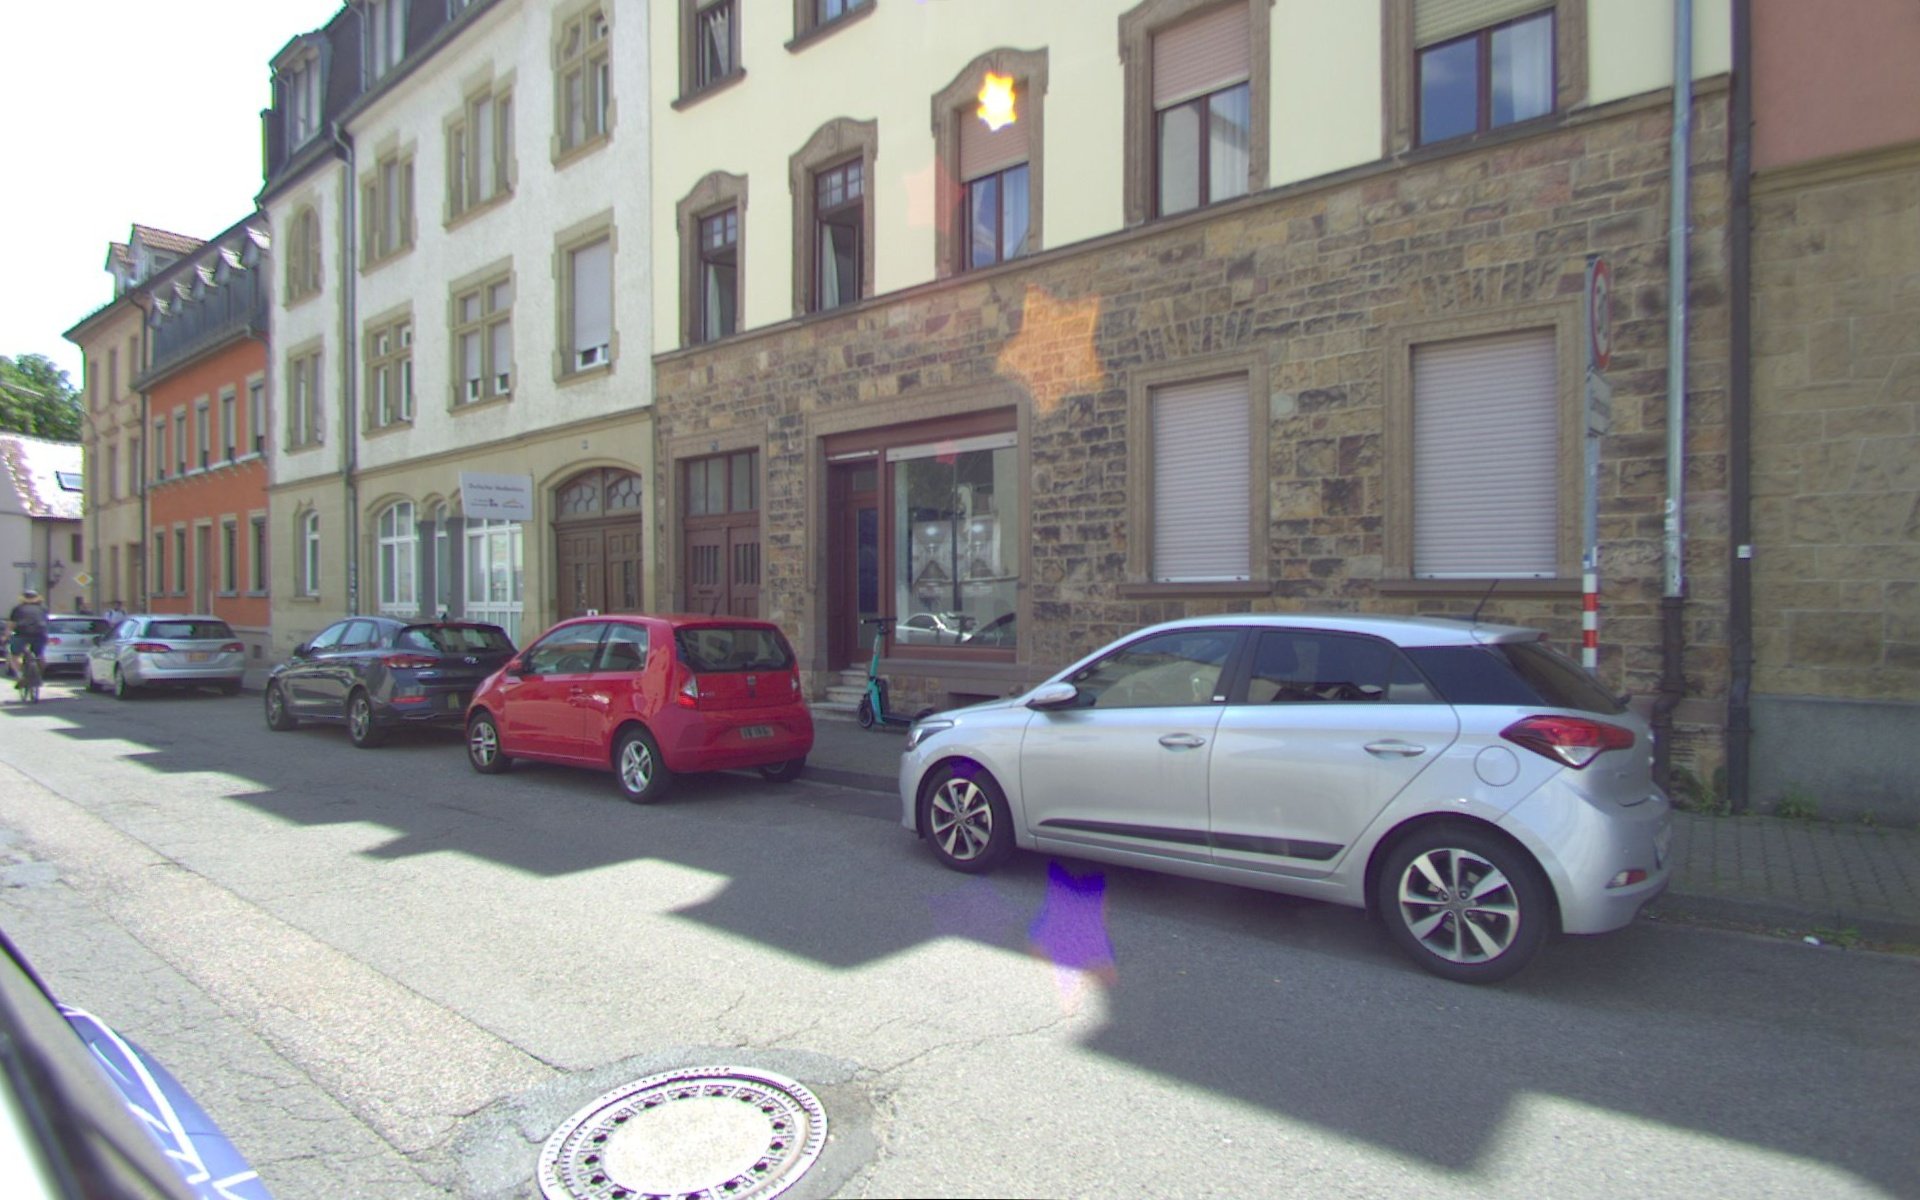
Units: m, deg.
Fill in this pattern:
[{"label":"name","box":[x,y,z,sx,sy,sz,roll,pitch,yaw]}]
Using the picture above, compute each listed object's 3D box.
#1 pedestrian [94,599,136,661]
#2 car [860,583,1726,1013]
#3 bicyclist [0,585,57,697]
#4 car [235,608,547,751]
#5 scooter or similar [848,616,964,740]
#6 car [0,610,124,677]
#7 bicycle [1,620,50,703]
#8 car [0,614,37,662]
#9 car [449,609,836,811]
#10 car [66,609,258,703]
[{"label":"pedestrian","box":[-25.254,0.883,30.251,0.763,1.784,0.761,-1,1,38]},{"label":"car","box":[1.476,0.699,5.317,4.014,1.442,1.618,-1,-2,39]},{"label":"bicyclist","box":[-15.429,0.654,16.629,1.165,1.775,0.635,0,-2,38]},{"label":"car","box":[-7.038,0.837,12.371,4.212,1.449,1.855,-1,-1,38]},{"label":"scooter or similar","box":[-0.583,0.788,10.632,1.318,1.230,0.371,-1,-1,39]},{"label":"car","box":[-21.500,1.003,24.091,3.848,1.470,1.694,-1,-2,39]},{"label":"bicycle","box":[-15.390,0.986,16.655,1.880,1.285,0.226,0,-3,38]},{"label":"car","box":[-30.837,1.185,32.102,3.852,1.453,1.711,-1,-1,38]},{"label":"car","box":[-2.897,0.811,8.977,3.490,1.453,1.583,-1,-1,38]},{"label":"car","box":[-14.744,0.938,18.620,4.376,1.522,1.859,-1,-1,39]}]
